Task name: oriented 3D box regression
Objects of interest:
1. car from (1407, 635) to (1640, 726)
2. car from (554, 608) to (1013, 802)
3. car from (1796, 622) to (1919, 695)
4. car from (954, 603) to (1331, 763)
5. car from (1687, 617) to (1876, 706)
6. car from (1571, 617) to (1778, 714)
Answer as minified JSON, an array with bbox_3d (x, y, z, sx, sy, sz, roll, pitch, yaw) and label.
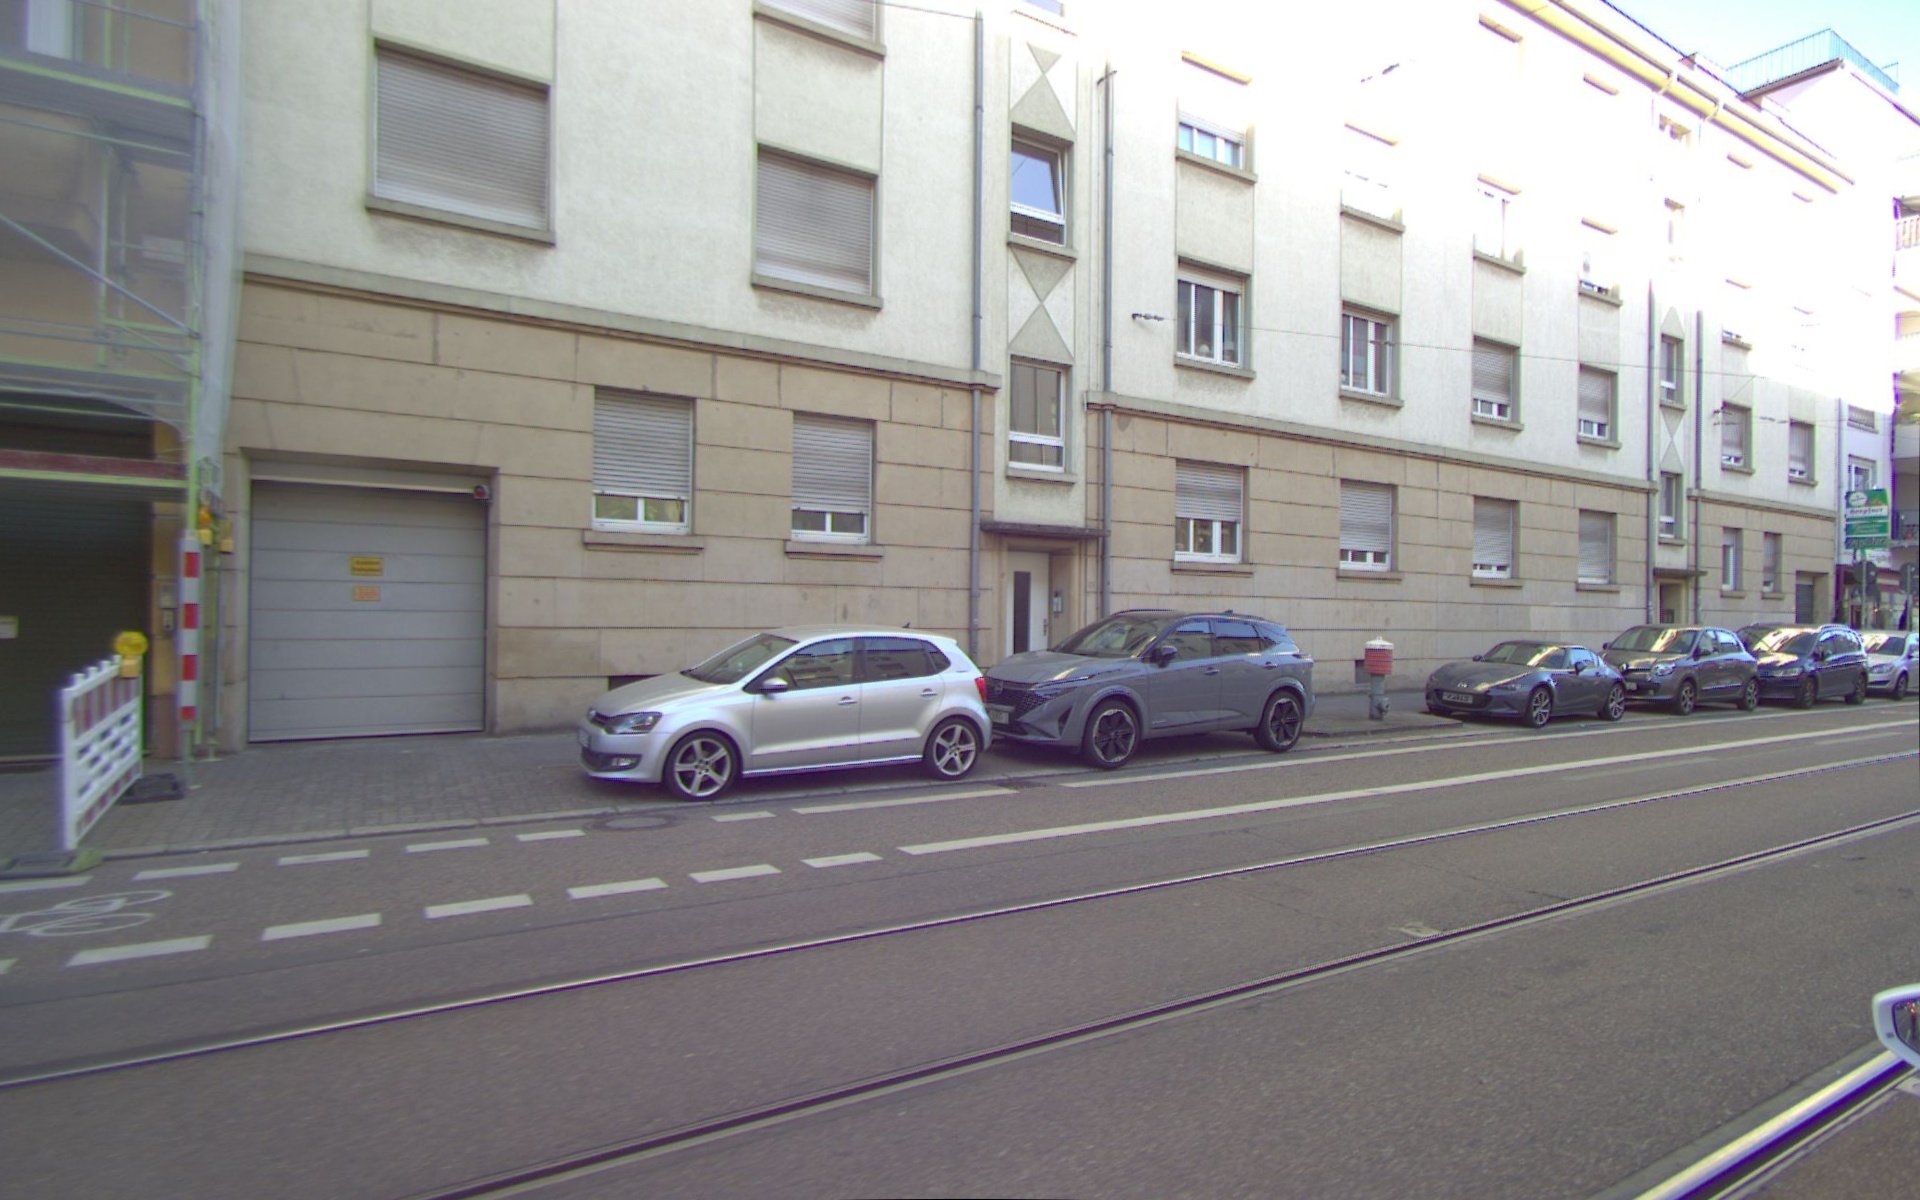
[{"bbox_3d":[9.127,1.240,16.209,3.744,1.232,1.690,2,0,-32],"label":"car"},{"bbox_3d":[-1.620,0.884,9.588,3.954,1.435,1.690,2,2,-31],"label":"car"},{"bbox_3d":[21.791,1.365,23.843,4.337,1.530,1.690,2,0,-32],"label":"car"},{"bbox_3d":[2.223,0.872,11.843,4.355,1.588,1.691,1,-1,-31],"label":"car"},{"bbox_3d":[17.069,1.231,20.825,4.195,1.637,1.691,2,0,-31],"label":"car"},{"bbox_3d":[13.378,1.174,18.770,3.954,1.590,1.691,2,0,-31],"label":"car"}]
